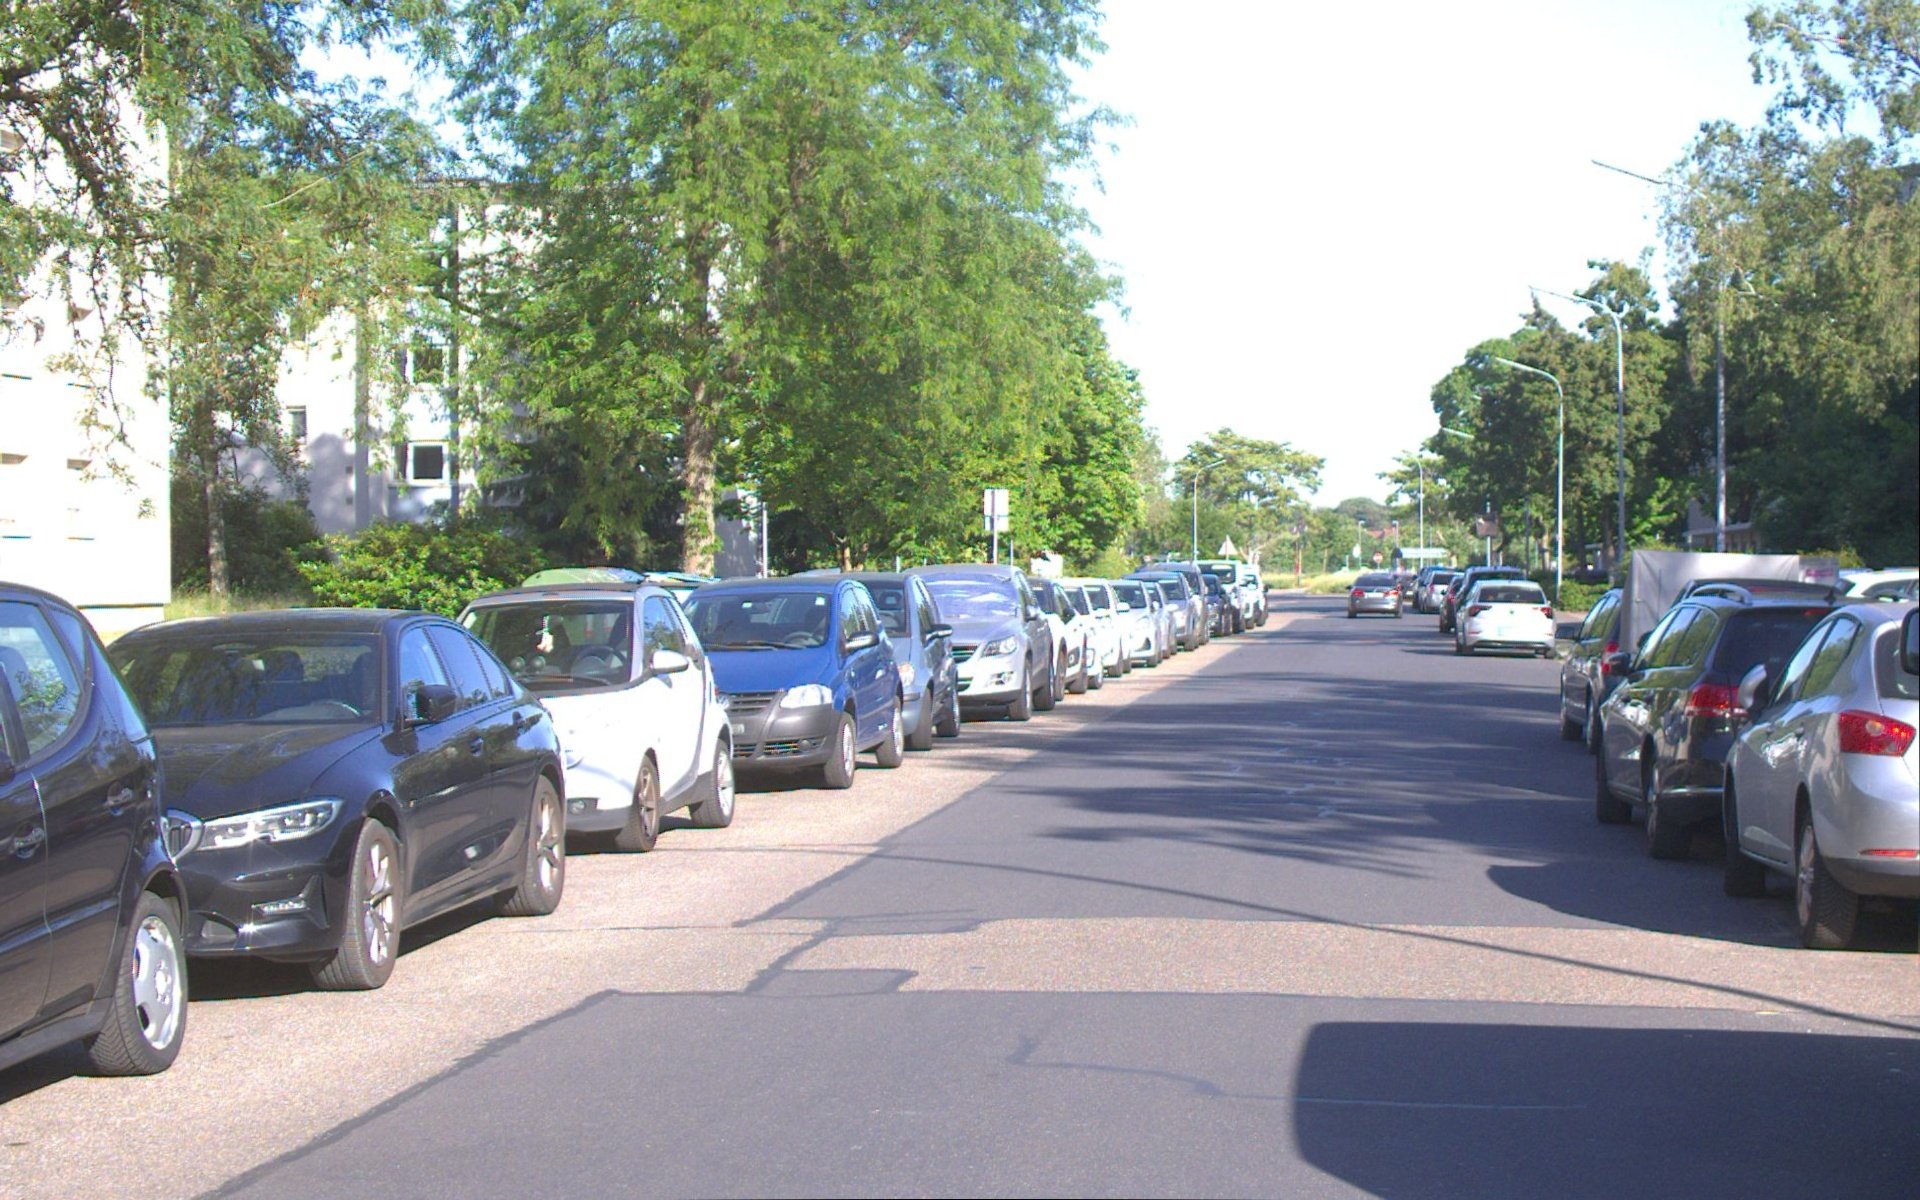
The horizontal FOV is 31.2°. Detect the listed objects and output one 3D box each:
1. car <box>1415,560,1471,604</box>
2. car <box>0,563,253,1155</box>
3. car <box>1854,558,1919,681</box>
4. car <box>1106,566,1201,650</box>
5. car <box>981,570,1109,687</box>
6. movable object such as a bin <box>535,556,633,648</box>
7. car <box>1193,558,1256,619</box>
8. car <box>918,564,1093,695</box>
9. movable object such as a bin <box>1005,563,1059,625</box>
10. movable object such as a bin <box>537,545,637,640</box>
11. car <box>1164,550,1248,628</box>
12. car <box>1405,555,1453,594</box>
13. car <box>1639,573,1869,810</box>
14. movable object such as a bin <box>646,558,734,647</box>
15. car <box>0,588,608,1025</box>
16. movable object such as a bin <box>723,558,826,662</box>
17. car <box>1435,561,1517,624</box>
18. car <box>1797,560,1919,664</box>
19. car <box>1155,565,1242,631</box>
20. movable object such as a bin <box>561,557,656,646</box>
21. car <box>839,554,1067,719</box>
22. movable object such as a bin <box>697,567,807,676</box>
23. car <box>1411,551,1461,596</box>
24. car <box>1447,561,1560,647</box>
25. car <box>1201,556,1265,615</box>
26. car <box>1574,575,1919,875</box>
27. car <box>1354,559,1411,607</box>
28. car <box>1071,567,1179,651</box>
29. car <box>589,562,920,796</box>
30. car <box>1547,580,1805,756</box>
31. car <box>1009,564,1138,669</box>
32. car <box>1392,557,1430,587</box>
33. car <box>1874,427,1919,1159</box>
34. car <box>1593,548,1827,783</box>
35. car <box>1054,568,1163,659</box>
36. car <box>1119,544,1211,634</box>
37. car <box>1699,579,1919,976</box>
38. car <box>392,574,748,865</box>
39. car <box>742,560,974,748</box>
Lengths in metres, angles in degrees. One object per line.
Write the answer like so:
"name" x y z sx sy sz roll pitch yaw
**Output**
"car" 17.788 -0.666 126.808 1.796 1.556 3.951 1 1 5
"car" -3.407 0.715 9.557 1.754 1.569 3.719 -2 0 5
"car" 13.663 0.197 43.200 4.515 1.508 1.828 -1 1 8
"car" 3.945 0.139 69.549 1.710 1.595 3.985 -2 0 5
"car" 1.140 0.364 47.234 1.662 1.508 3.538 -1 1 1
"movable object such as a bin" -6.082 0.025 55.692 1.178 1.416 1.462 3 1 9
"car" 7.621 -0.346 99.293 1.746 1.664 4.377 -1 1 4
"car" 0.606 0.329 42.468 1.663 1.508 3.944 -1 1 8
"movable object such as a bin" 1.723 -0.141 81.851 1.102 1.416 1.360 3 1 7
"movable object such as a bin" -5.849 -0.126 54.006 1.178 1.416 1.462 3 1 9
"car" 6.551 -0.313 91.070 1.915 1.956 5.086 -1 1 7
"car" 20.059 -1.098 147.023 1.796 1.638 3.951 1 1 5
"car" 5.494 0.589 23.992 1.415 1.518 2.556 2 1 11
"movable object such as a bin" -4.508 0.036 57.442 1.135 1.416 1.360 3 1 8
"car" -2.831 0.737 14.471 1.754 1.476 4.536 -2 0 6
"movable object such as a bin" -2.545 0.131 47.226 1.136 1.353 1.243 3 1 8
"car" 13.033 -0.214 87.047 1.908 1.525 4.327 1 1 7
"car" 14.913 0.144 51.477 4.416 1.508 1.828 -1 1 8
"car" 5.917 -0.066 84.976 1.747 1.528 4.137 -1 1 9
"movable object such as a bin" -5.836 0.018 57.193 1.178 1.416 1.462 3 1 9
"car" -0.009 0.346 36.808 1.903 1.634 4.348 -1 1 7
"movable object such as a bin" -2.756 0.273 45.793 1.136 1.378 1.441 3 1 8
"car" 19.762 -1.110 142.757 1.796 1.780 3.951 1 1 5
"car" 10.257 0.050 65.126 1.753 1.508 4.104 2 1 4
"car" 8.345 -0.453 104.800 1.747 1.726 4.004 -1 0 7
"car" 4.652 0.625 19.788 1.732 1.485 4.500 -1 1 4
"car" 14.080 -0.577 114.678 1.680 1.508 4.104 2 1 4
"car" 3.140 0.142 64.745 1.687 1.460 4.524 -2 0 6
"car" -1.485 0.543 26.380 1.755 1.600 3.967 -2 0 8
"car" 6.300 0.555 30.626 1.732 1.399 3.894 1 1 4
"car" 1.804 0.229 53.499 1.687 1.529 3.890 -1 1 6
"car" 23.860 -1.508 181.962 1.796 1.543 3.951 1 1 5
"car" 3.288 0.542 7.309 1.853 1.927 4.704 1 1 6
"car" 5.820 0.472 26.891 1.489 1.712 2.582 1 1 6
"car" 2.592 0.210 59.222 1.687 1.500 3.817 -1 1 5
"car" 4.558 -0.251 75.895 1.854 1.886 4.417 -1 0 5
"car" 4.303 0.680 15.075 1.623 1.485 4.035 1 1 6
"car" -2.278 0.658 20.763 1.445 1.569 3.141 -2 0 6
"car" -0.874 0.447 31.401 1.636 1.600 3.534 -1 1 6
